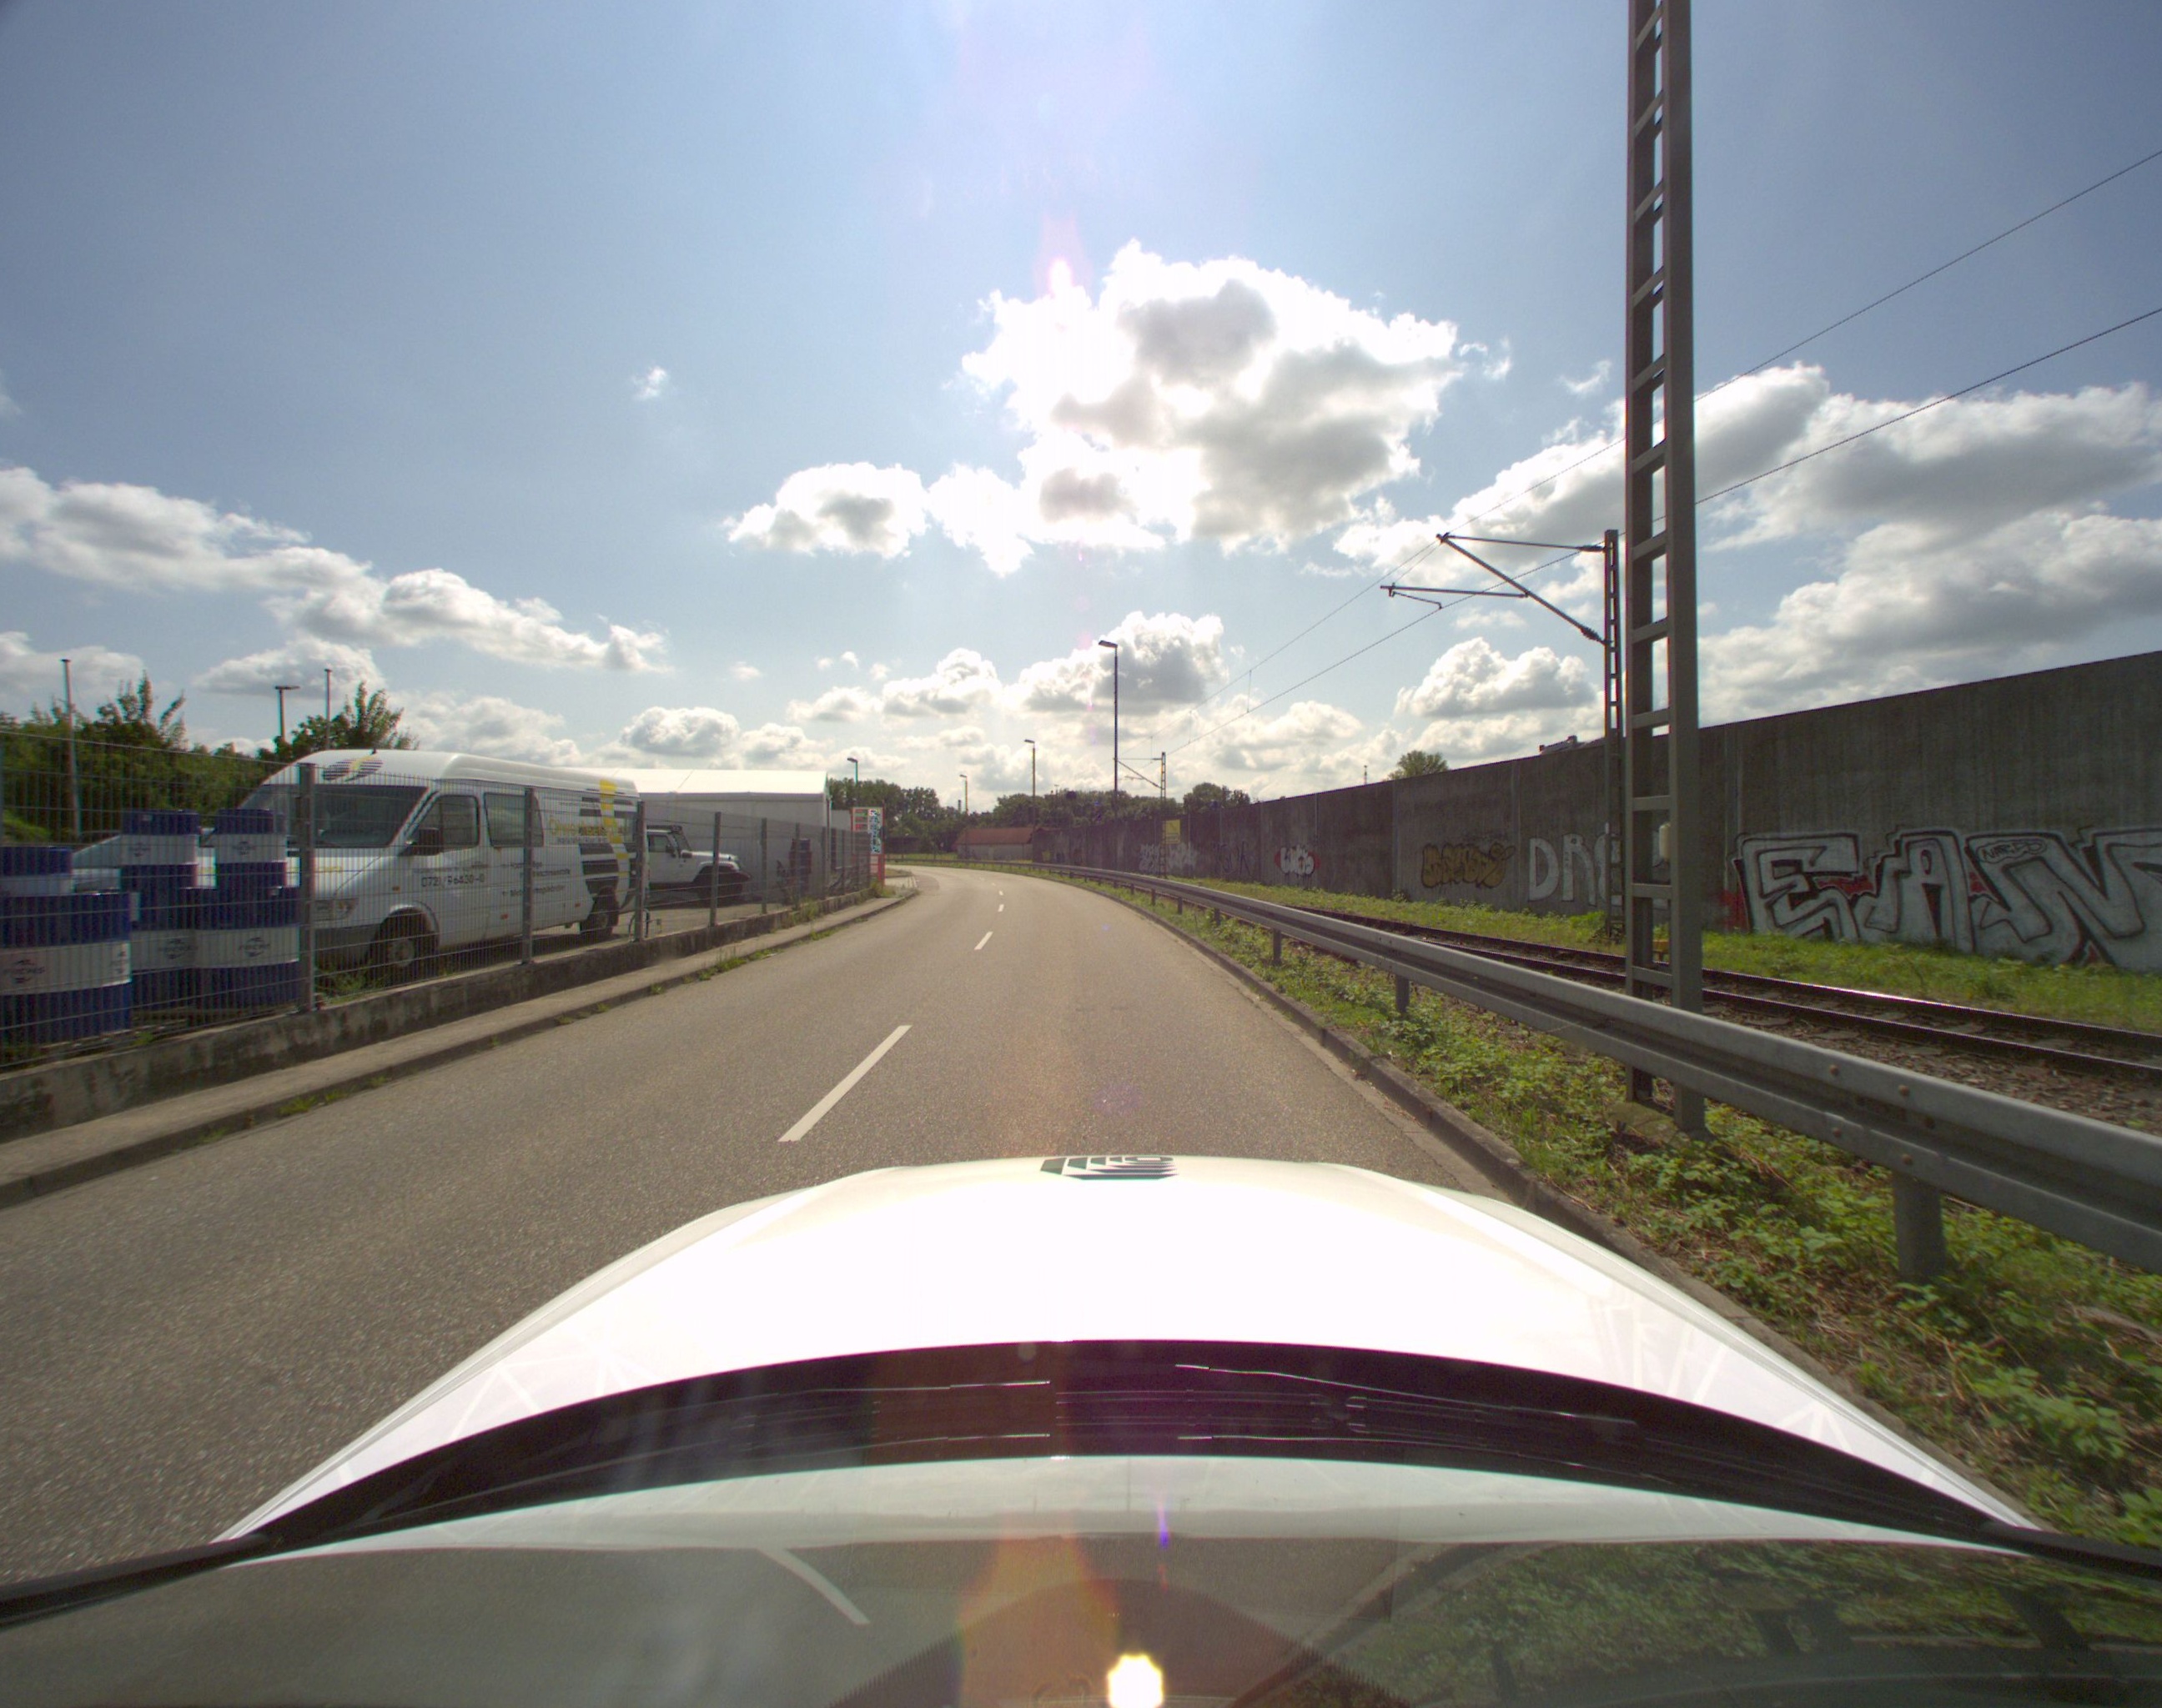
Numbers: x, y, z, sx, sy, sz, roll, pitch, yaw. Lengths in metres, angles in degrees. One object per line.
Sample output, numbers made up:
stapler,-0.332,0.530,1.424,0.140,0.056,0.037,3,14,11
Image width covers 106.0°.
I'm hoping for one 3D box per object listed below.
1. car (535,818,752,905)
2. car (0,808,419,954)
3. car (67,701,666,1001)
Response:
car,-10.875,0.169,20.682,4.569,2.027,2.045,0,-1,-20
car,-11.718,0.305,11.465,1.977,1.668,3.987,-1,0,-10
car,-7.809,-0.038,10.341,2.115,2.537,6.705,-1,0,-5
